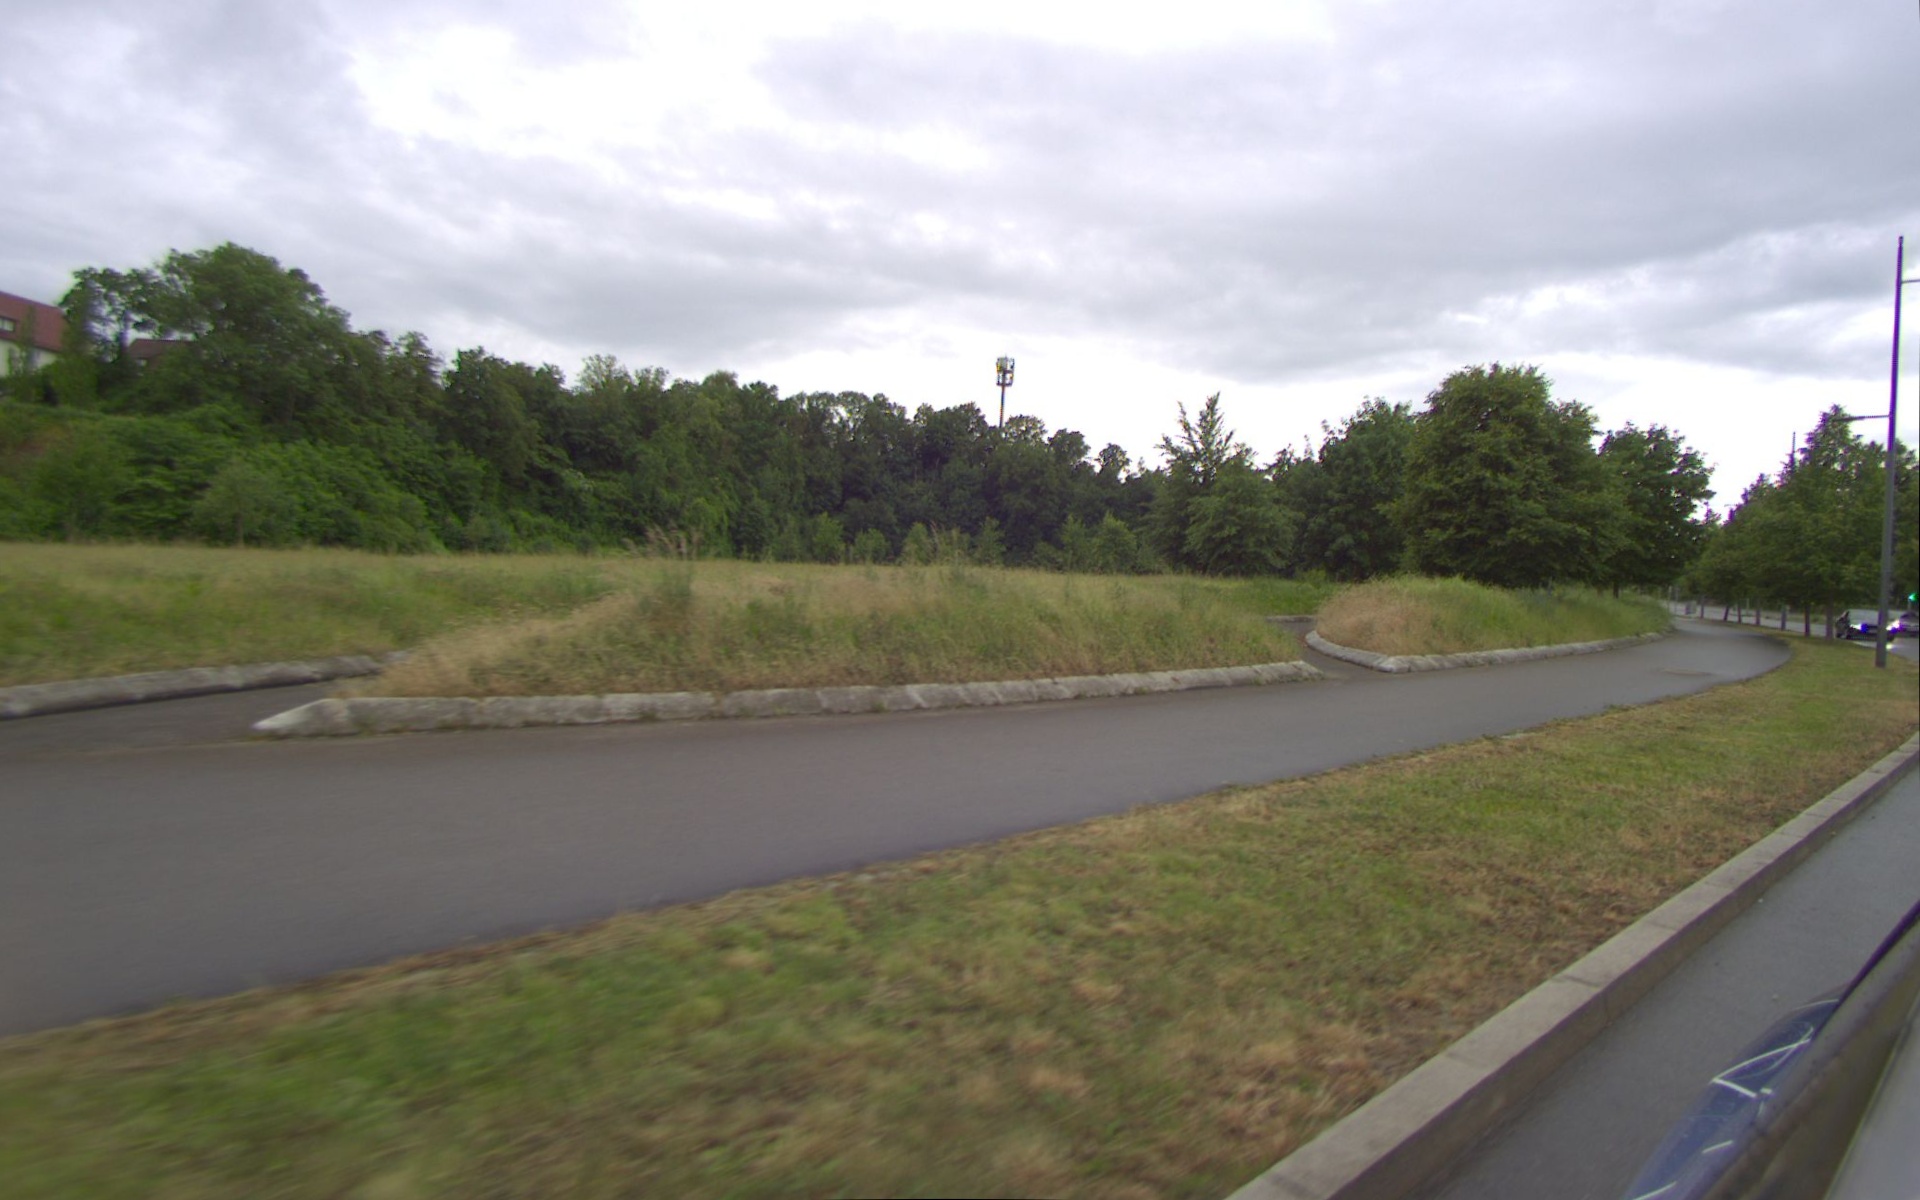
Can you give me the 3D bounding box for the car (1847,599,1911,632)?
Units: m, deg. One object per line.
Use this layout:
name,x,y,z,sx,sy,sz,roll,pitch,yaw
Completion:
car,44.219,0.784,48.774,1.982,1.417,4.116,3,0,39

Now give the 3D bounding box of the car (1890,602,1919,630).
car,51.967,0.855,54.788,1.800,1.447,4.143,2,1,35
